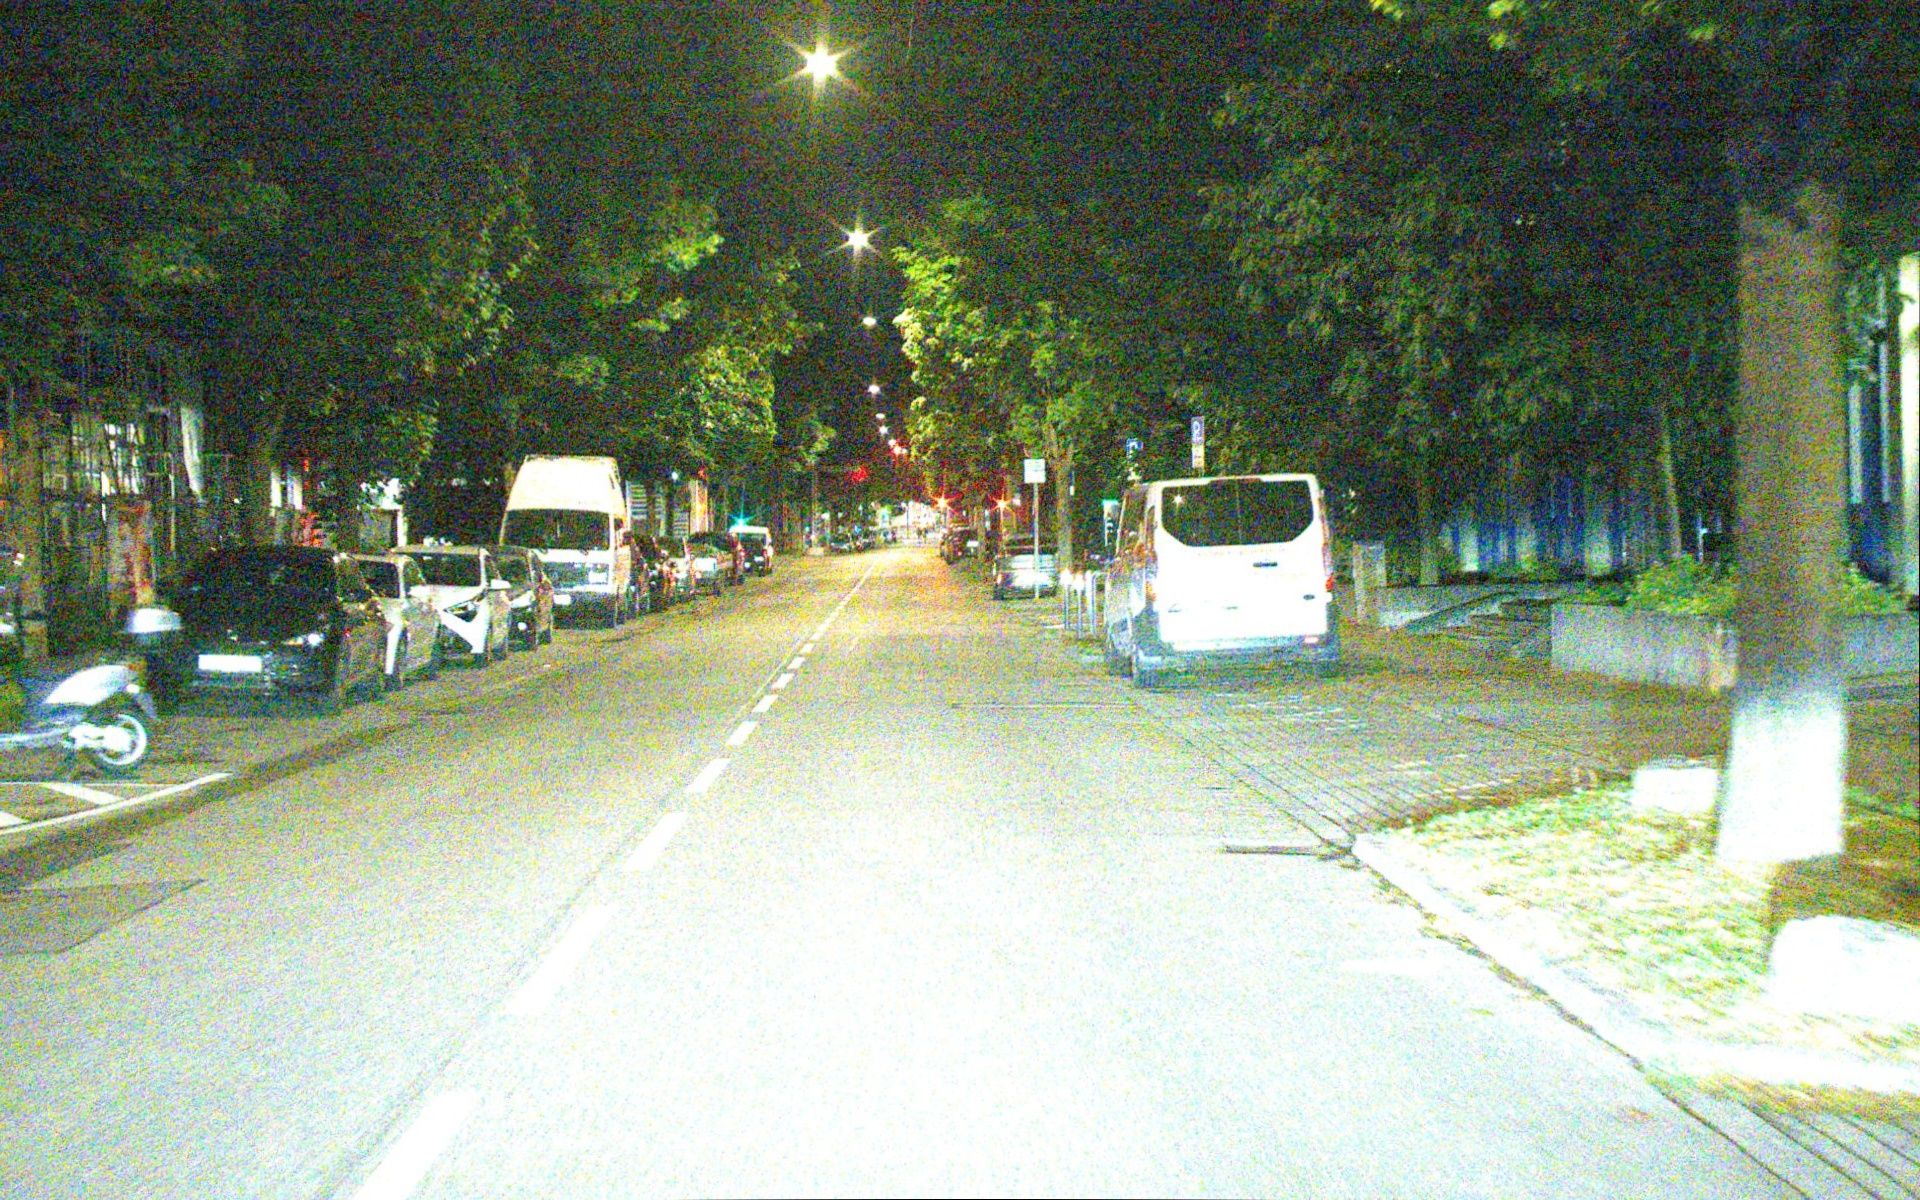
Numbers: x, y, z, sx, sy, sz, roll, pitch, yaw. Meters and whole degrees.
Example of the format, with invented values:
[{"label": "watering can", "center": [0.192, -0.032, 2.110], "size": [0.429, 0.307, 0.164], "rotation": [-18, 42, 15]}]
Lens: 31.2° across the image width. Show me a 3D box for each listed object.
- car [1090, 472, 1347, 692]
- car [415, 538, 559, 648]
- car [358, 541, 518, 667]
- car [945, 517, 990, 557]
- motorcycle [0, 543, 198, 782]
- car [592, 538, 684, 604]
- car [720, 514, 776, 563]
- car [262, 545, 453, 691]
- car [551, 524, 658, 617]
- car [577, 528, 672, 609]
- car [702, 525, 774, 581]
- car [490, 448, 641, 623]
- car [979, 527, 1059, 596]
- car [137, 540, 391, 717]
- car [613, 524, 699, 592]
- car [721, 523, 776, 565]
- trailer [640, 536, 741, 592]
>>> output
[{"label": "car", "center": [2.478, -0.217, 34.036], "size": [1.950, 1.957, 4.604], "rotation": [-2, 1, -2]}, {"label": "car", "center": [-6.687, -0.121, 48.912], "size": [1.645, 1.499, 3.861], "rotation": [0, 1, -2]}, {"label": "car", "center": [-6.461, 0.020, 42.834], "size": [1.547, 1.450, 3.369], "rotation": [1, 1, -2]}, {"label": "car", "center": [0.315, -2.703, 146.698], "size": [1.853, 1.648, 4.209], "rotation": [-1, 1, 0]}, {"label": "motorcycle", "center": [-6.030, 0.400, 22.600], "size": [1.901, 1.544, 0.639], "rotation": [1, 1, -20]}, {"label": "car", "center": [-7.117, -0.666, 76.413], "size": [1.704, 1.407, 4.634], "rotation": [-1, 1, -1]}, {"label": "car", "center": [-8.160, -2.384, 132.684], "size": [1.822, 1.805, 4.210], "rotation": [3, 1, 0]}, {"label": "car", "center": [-6.432, 0.155, 37.036], "size": [1.444, 1.425, 3.904], "rotation": [2, 1, -2]}, {"label": "car", "center": [-6.712, -0.589, 65.238], "size": [1.742, 1.601, 4.117], "rotation": [-1, 2, -2]}, {"label": "car", "center": [-6.893, -0.685, 70.952], "size": [1.742, 1.601, 4.299], "rotation": [-1, 1, -3]}, {"label": "car", "center": [-6.711, -1.438, 104.115], "size": [1.822, 1.593, 4.073], "rotation": [3, 1, 0]}, {"label": "car", "center": [-6.820, -1.123, 59.853], "size": [2.179, 2.899, 4.910], "rotation": [1, 1, -2]}, {"label": "car", "center": [1.321, -0.871, 76.158], "size": [1.668, 1.424, 4.148], "rotation": [-3, 1, 1]}, {"label": "car", "center": [-6.392, 0.215, 31.927], "size": [1.642, 1.499, 3.904], "rotation": [1, 1, -2]}, {"label": "car", "center": [-7.175, -1.014, 81.405], "size": [1.716, 1.496, 4.206], "rotation": [2, 1, -2]}, {"label": "car", "center": [-7.758, -2.067, 126.137], "size": [1.700, 1.428, 3.828], "rotation": [3, 1, 0]}, {"label": "trailer", "center": [-6.953, -0.954, 89.137], "size": [2.110, 1.330, 5.435], "rotation": [2, 1, 0]}]
